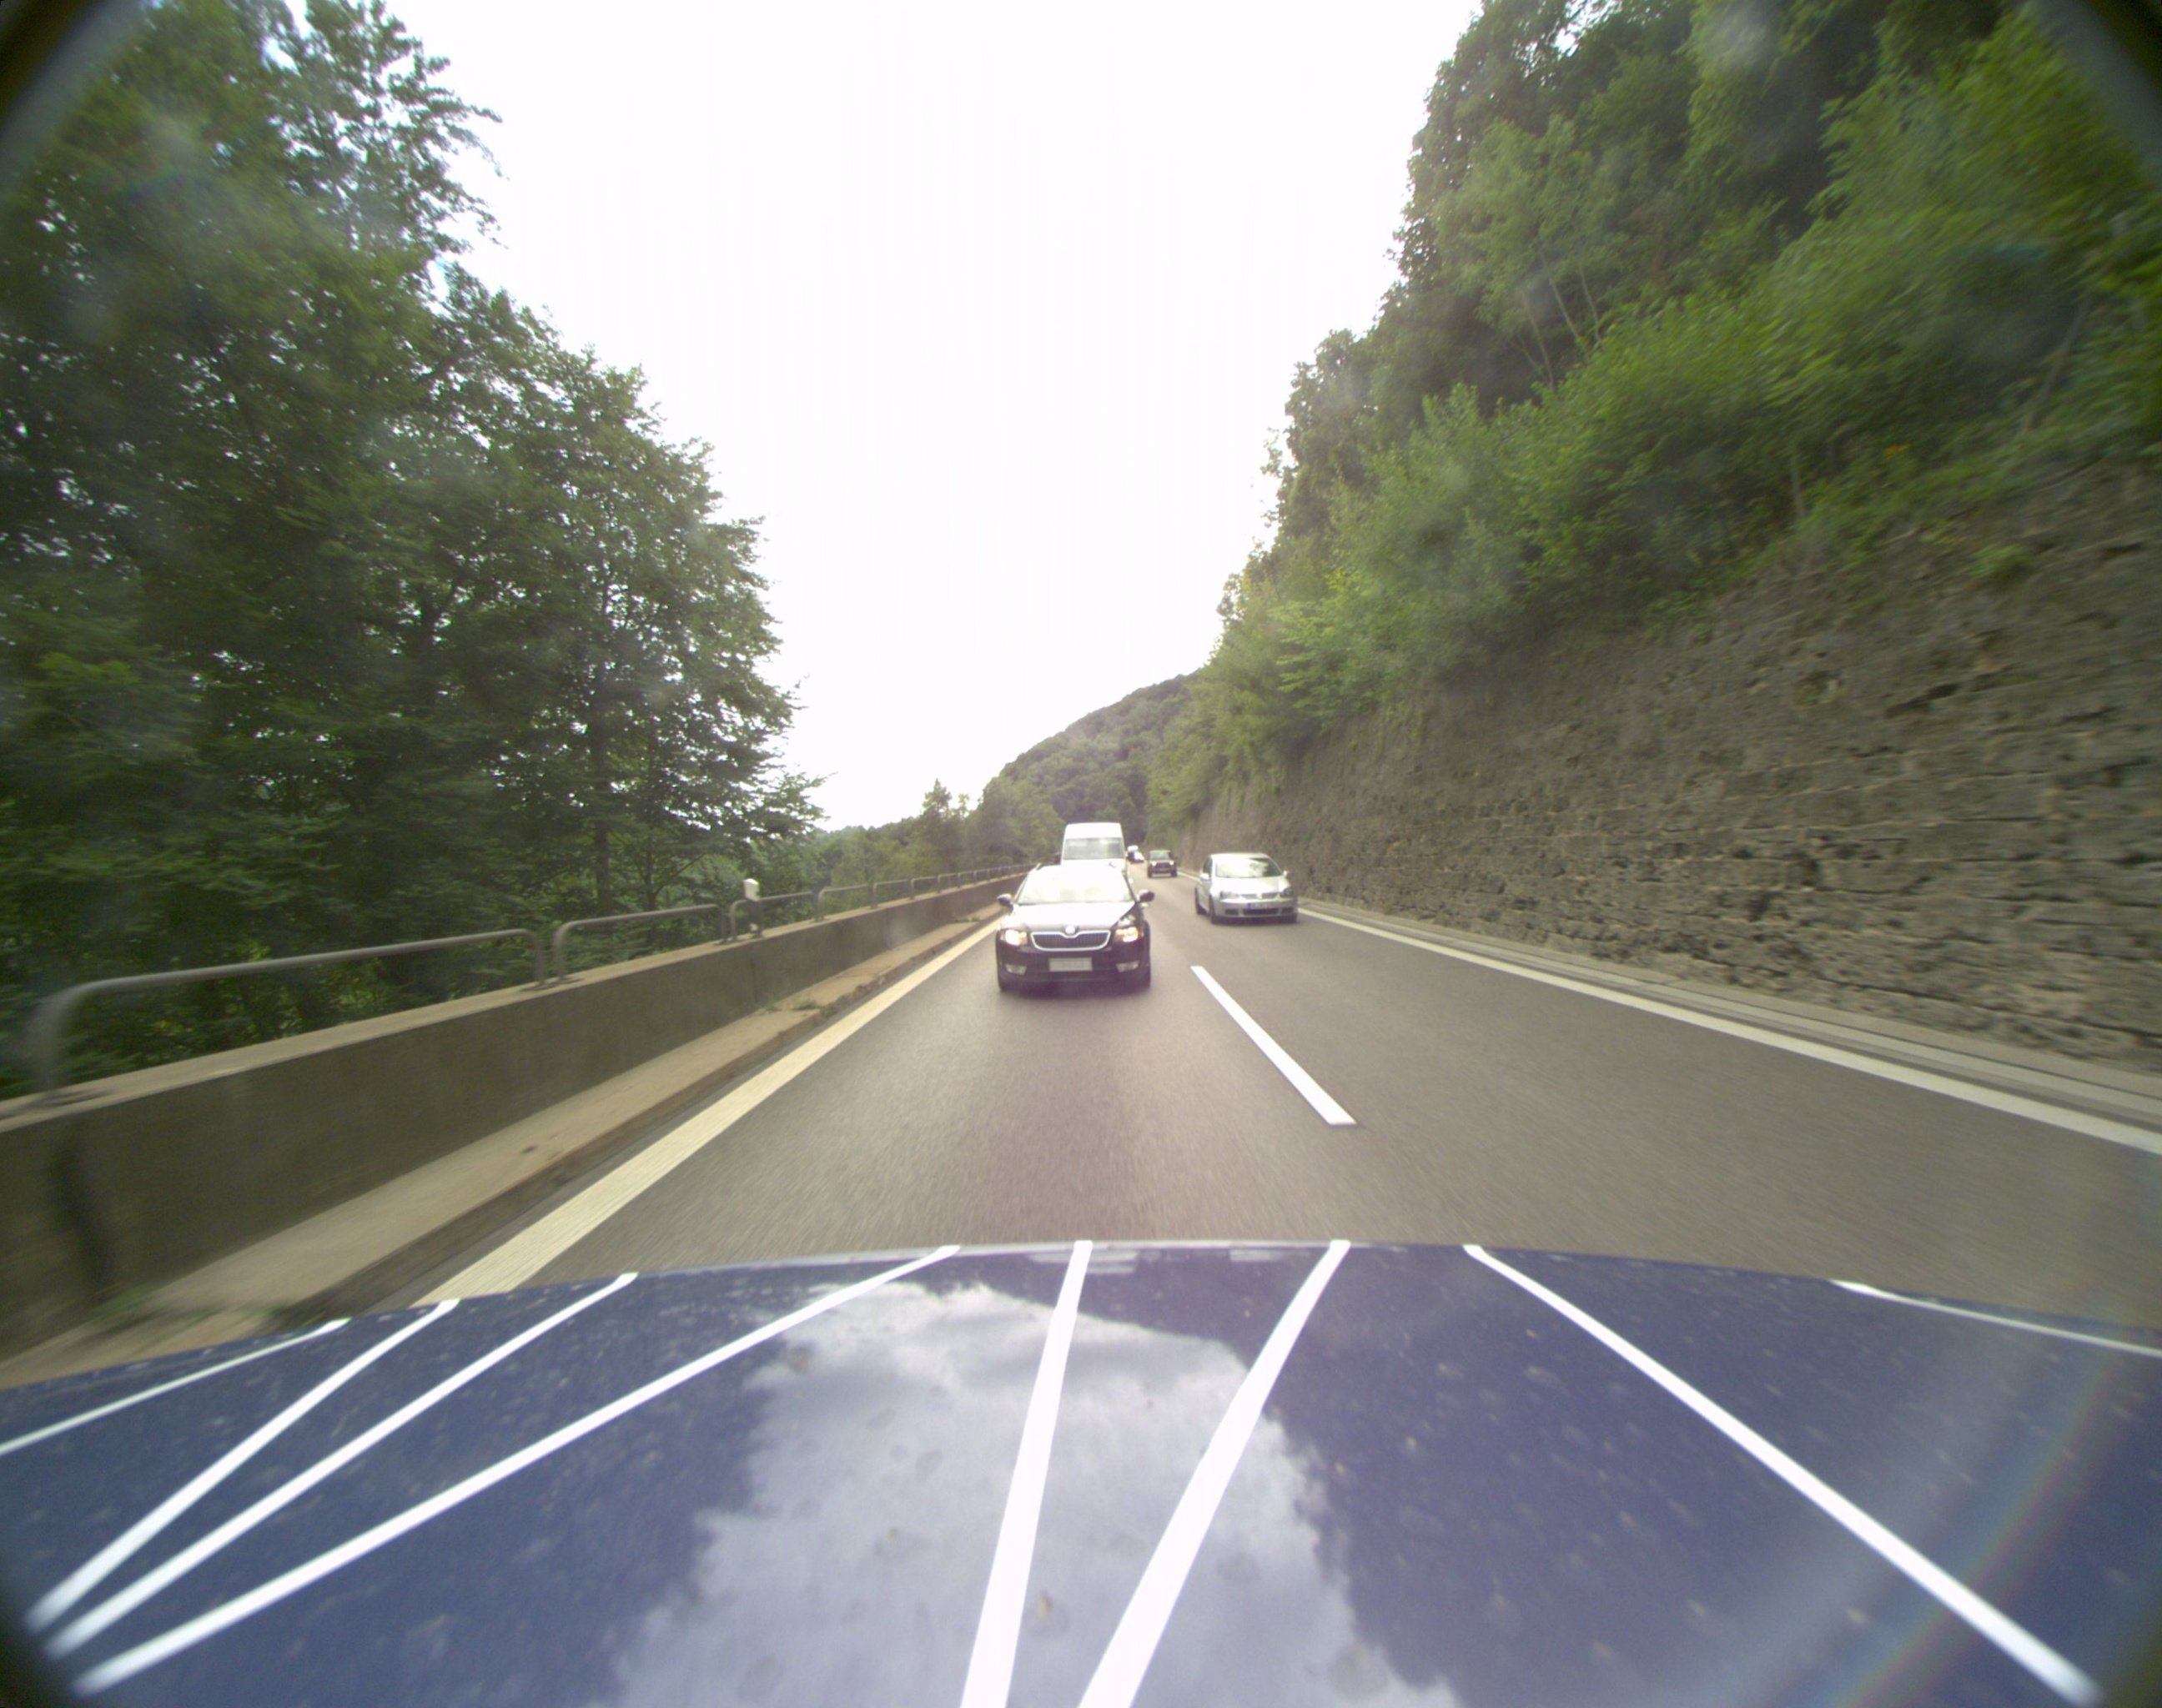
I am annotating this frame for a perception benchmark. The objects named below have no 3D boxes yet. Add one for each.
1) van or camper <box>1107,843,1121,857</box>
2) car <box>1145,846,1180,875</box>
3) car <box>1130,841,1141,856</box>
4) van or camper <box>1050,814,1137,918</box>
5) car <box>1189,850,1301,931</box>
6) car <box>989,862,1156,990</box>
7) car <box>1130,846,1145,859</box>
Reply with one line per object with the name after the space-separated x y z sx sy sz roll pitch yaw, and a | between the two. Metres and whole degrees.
6.116 -0.781 141.031 2.270 2.526 5.911 -3 0 1 | van or camper
4.959 0.356 46.698 1.812 1.646 4.584 -3 0 3 | car
9.677 -1.010 135.003 1.975 2.628 4.584 -2 0 4 | car
0.462 0.303 22.799 2.081 2.575 5.913 -4 0 3 | van or camper
3.548 0.719 17.260 1.685 1.506 4.583 -3 0 2 | car
0.033 0.912 11.824 1.998 1.389 5.009 -3 0 3 | car
7.701 -0.161 103.639 1.812 1.646 4.584 -3 0 4 | car
